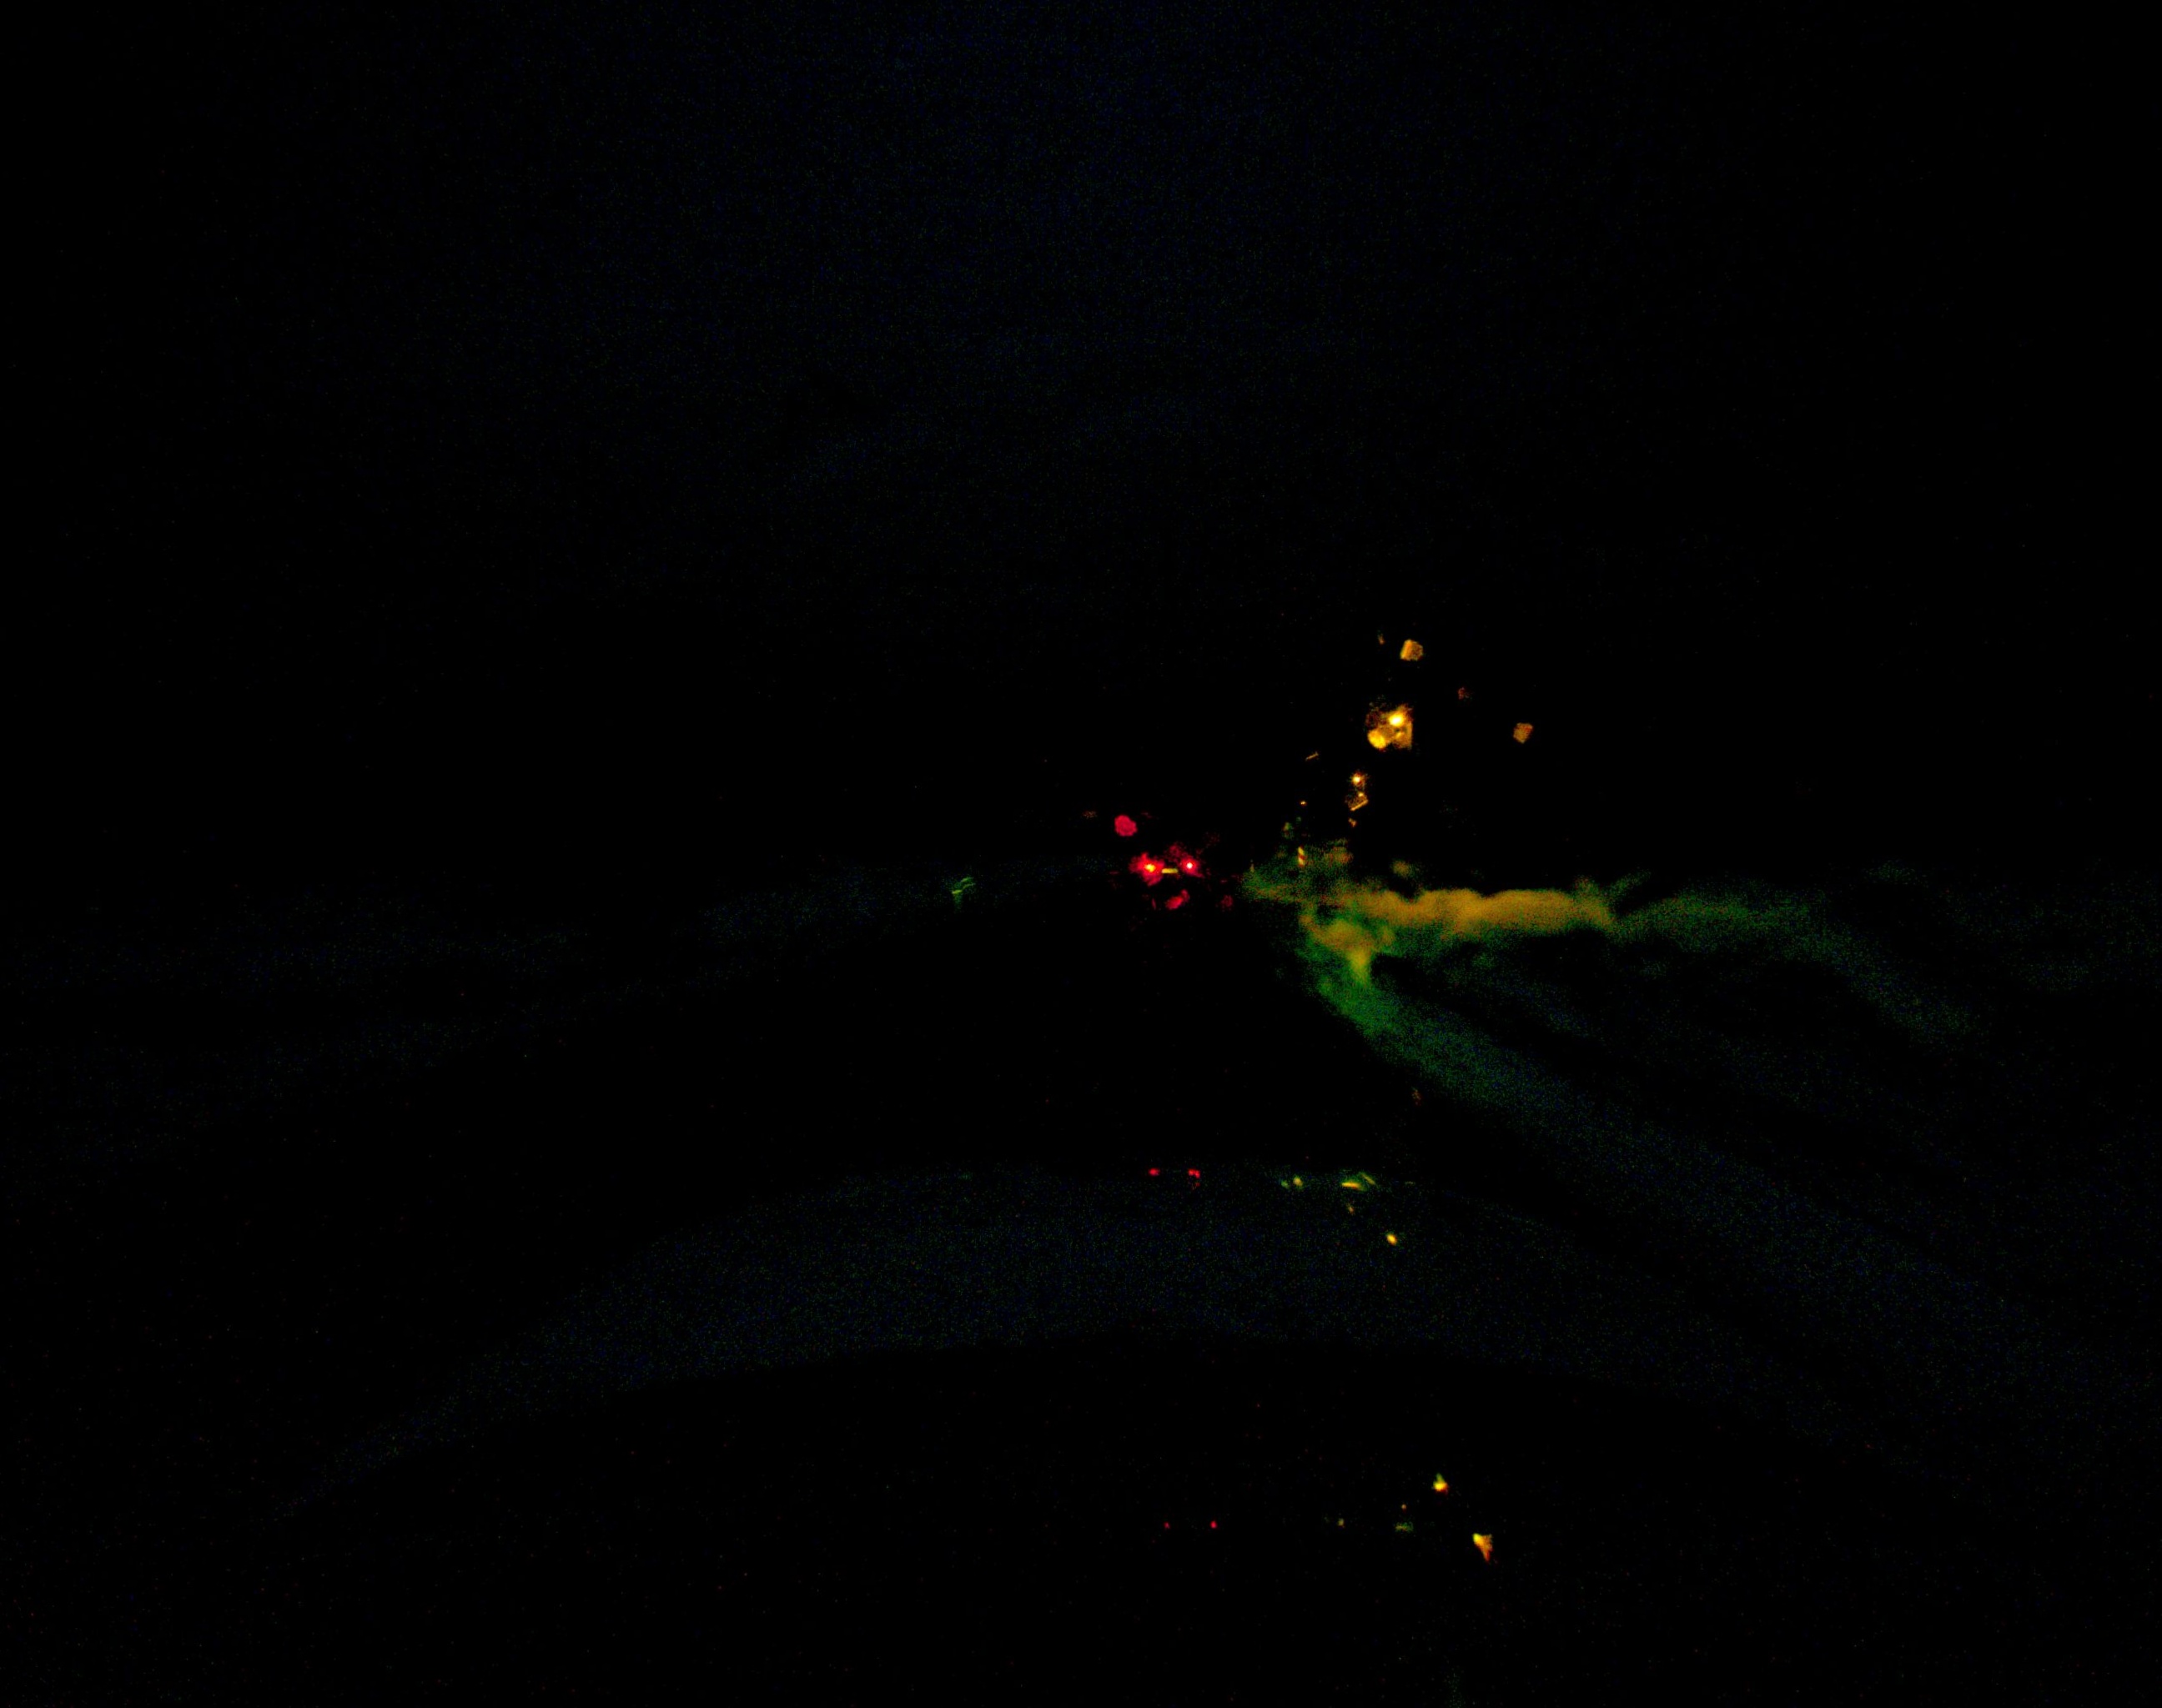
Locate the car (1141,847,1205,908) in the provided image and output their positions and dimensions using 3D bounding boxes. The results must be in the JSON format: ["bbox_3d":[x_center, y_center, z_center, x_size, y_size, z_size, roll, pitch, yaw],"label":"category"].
[{"bbox_3d":[3.042,0.776,27.501,1.815,1.796,3.580,-4,-1,3],"label":"car"}]
